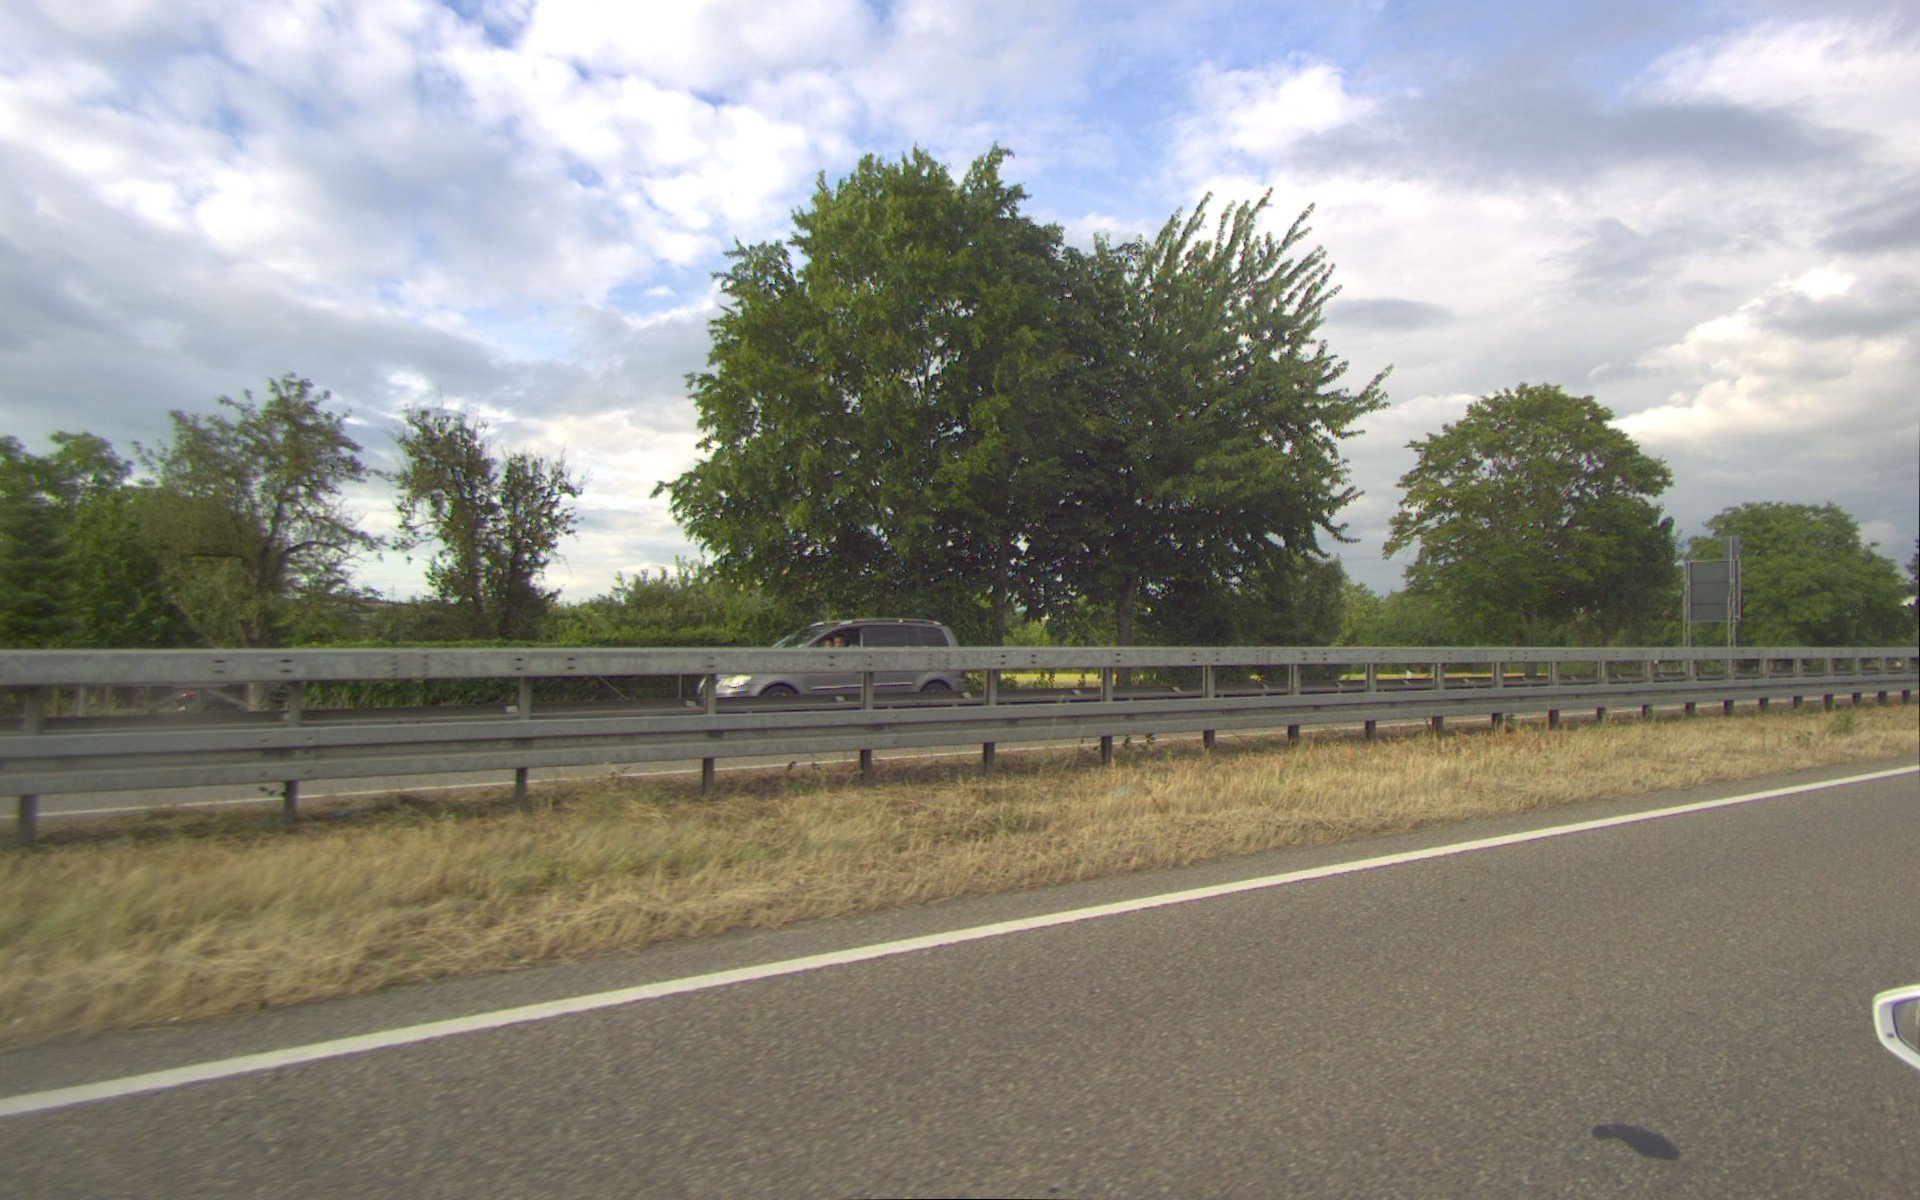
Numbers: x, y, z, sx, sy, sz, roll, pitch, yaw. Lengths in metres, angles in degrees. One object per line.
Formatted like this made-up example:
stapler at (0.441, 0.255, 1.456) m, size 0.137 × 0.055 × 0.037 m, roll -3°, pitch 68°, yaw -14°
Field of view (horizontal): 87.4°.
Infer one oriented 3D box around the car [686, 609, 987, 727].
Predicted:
car at (-1.905, 1.031, 15.952) m, size 4.430 × 1.647 × 1.790 m, roll 1°, pitch -3°, yaw -30°
